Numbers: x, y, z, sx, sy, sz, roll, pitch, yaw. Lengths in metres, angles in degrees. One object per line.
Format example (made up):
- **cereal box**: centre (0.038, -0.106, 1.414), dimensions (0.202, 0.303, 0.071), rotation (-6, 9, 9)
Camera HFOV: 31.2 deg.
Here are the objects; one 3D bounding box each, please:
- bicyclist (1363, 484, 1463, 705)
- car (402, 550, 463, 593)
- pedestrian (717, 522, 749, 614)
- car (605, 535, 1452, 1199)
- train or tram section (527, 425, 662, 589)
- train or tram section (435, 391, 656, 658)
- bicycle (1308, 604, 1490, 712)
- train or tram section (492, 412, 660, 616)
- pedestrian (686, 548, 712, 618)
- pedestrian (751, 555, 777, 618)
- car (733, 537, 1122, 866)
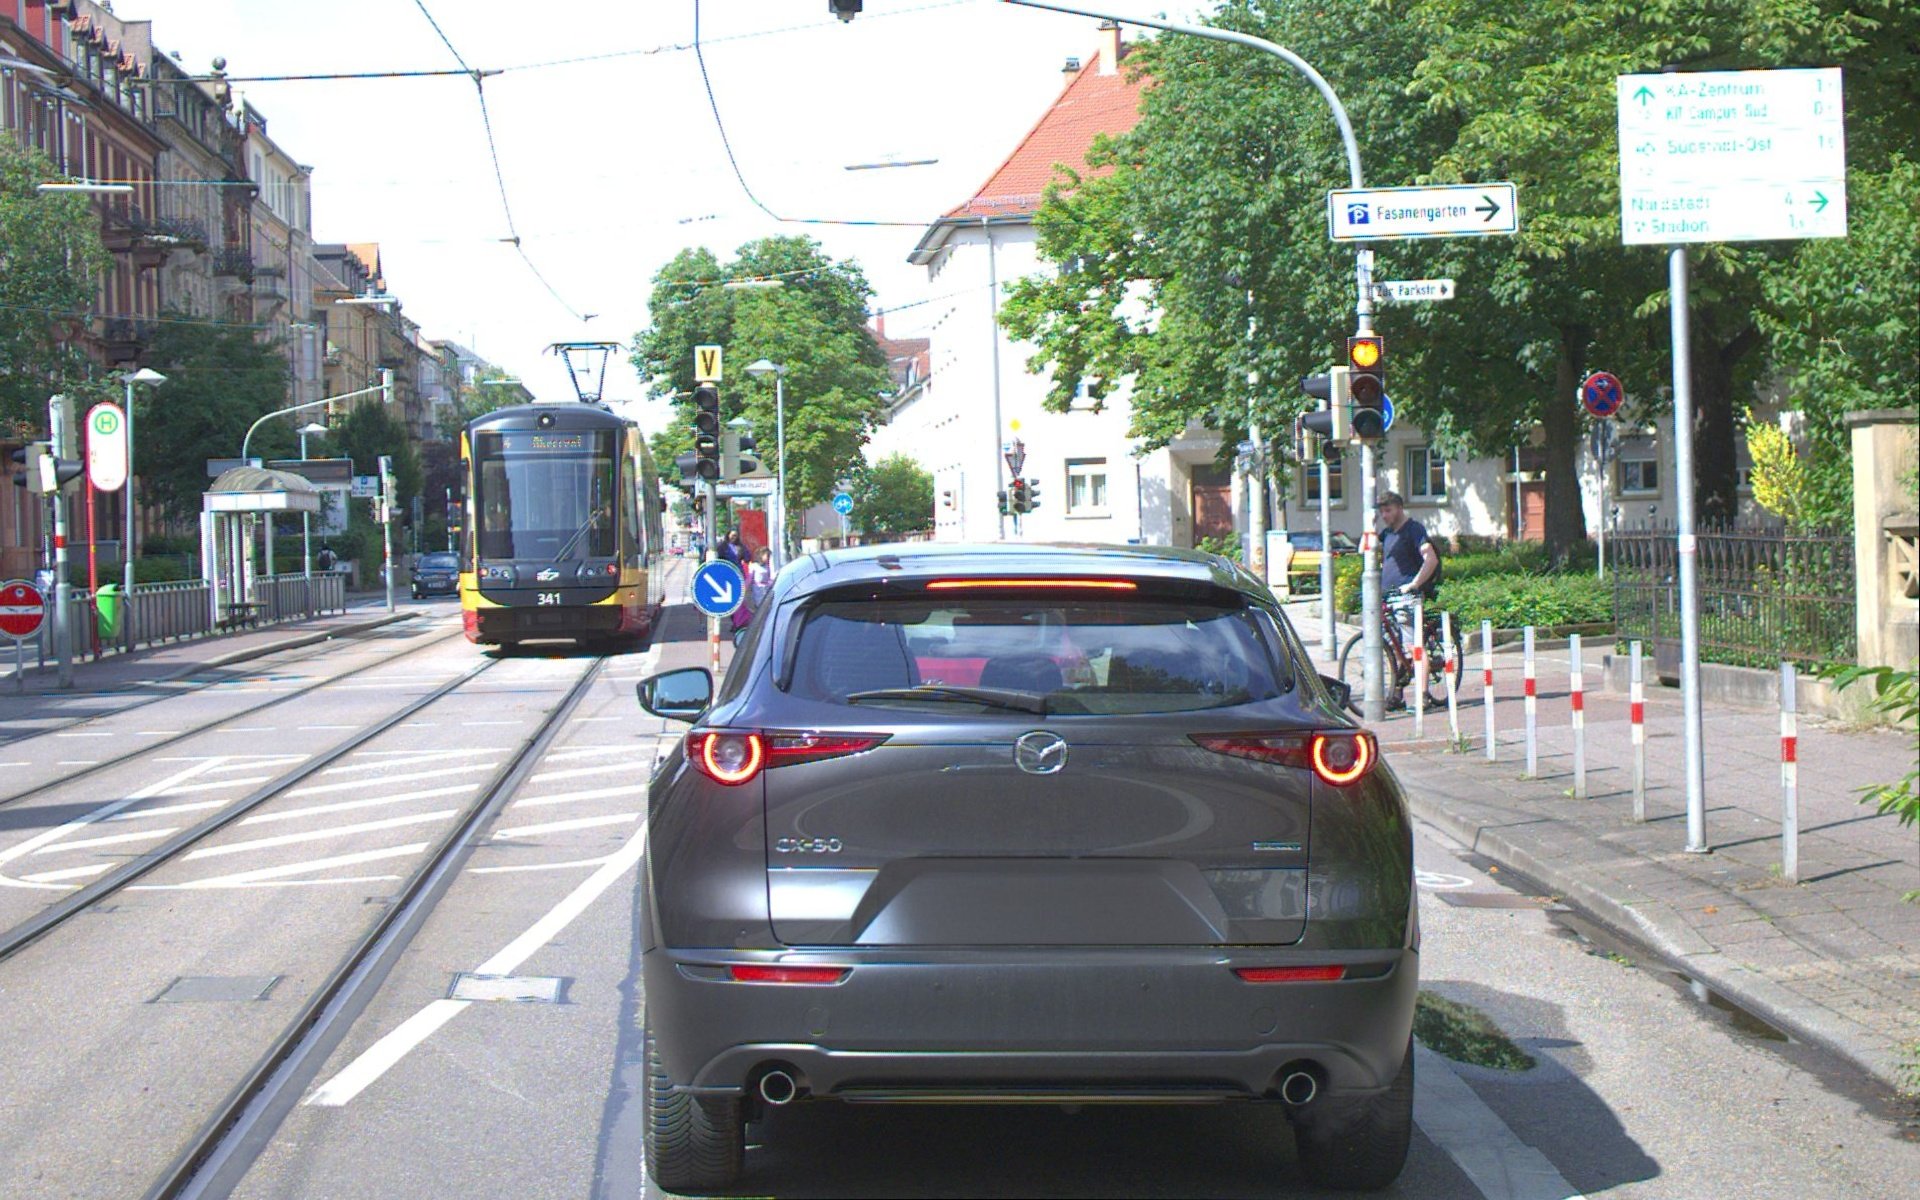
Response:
- **bicyclist**: centre (3.722, -0.050, 28.301), dimensions (0.608, 1.786, 0.658), rotation (-1, 1, -10)
- **car**: centre (-16.835, -0.917, 109.822), dimensions (1.614, 1.305, 3.628), rotation (-1, 1, -4)
- **pedestrian**: centre (-3.557, -0.503, 53.770), dimensions (0.450, 1.429, 0.474), rotation (-1, 1, -5)
- **car**: centre (0.105, 0.585, 9.281), dimensions (1.778, 1.494, 4.000), rotation (1, 1, -1)
- **train or tram section**: centre (-8.516, -2.258, 81.446), dimensions (2.752, 3.478, 14.411), rotation (-2, 2, -5)
- **train or tram section**: centre (-6.125, -1.251, 52.763), dimensions (2.752, 3.478, 14.411), rotation (-2, 2, -5)
- **bicycle**: centre (3.658, 0.472, 28.578), dimensions (1.694, 0.821, 0.494), rotation (-2, 1, -42)
- **train or tram section**: centre (-7.318, -1.750, 67.103), dimensions (2.752, 3.478, 14.411), rotation (-2, 2, -5)
- **pedestrian**: centre (-4.064, -0.263, 53.540), dimensions (0.379, 1.067, 0.474), rotation (-1, 1, -5)
- **pedestrian**: centre (-3.077, -0.215, 53.929), dimensions (0.379, 0.981, 0.474), rotation (-1, 1, -5)
- **car**: centre (-0.190, 0.434, 17.886), dimensions (1.778, 1.494, 4.000), rotation (1, 1, -1)
